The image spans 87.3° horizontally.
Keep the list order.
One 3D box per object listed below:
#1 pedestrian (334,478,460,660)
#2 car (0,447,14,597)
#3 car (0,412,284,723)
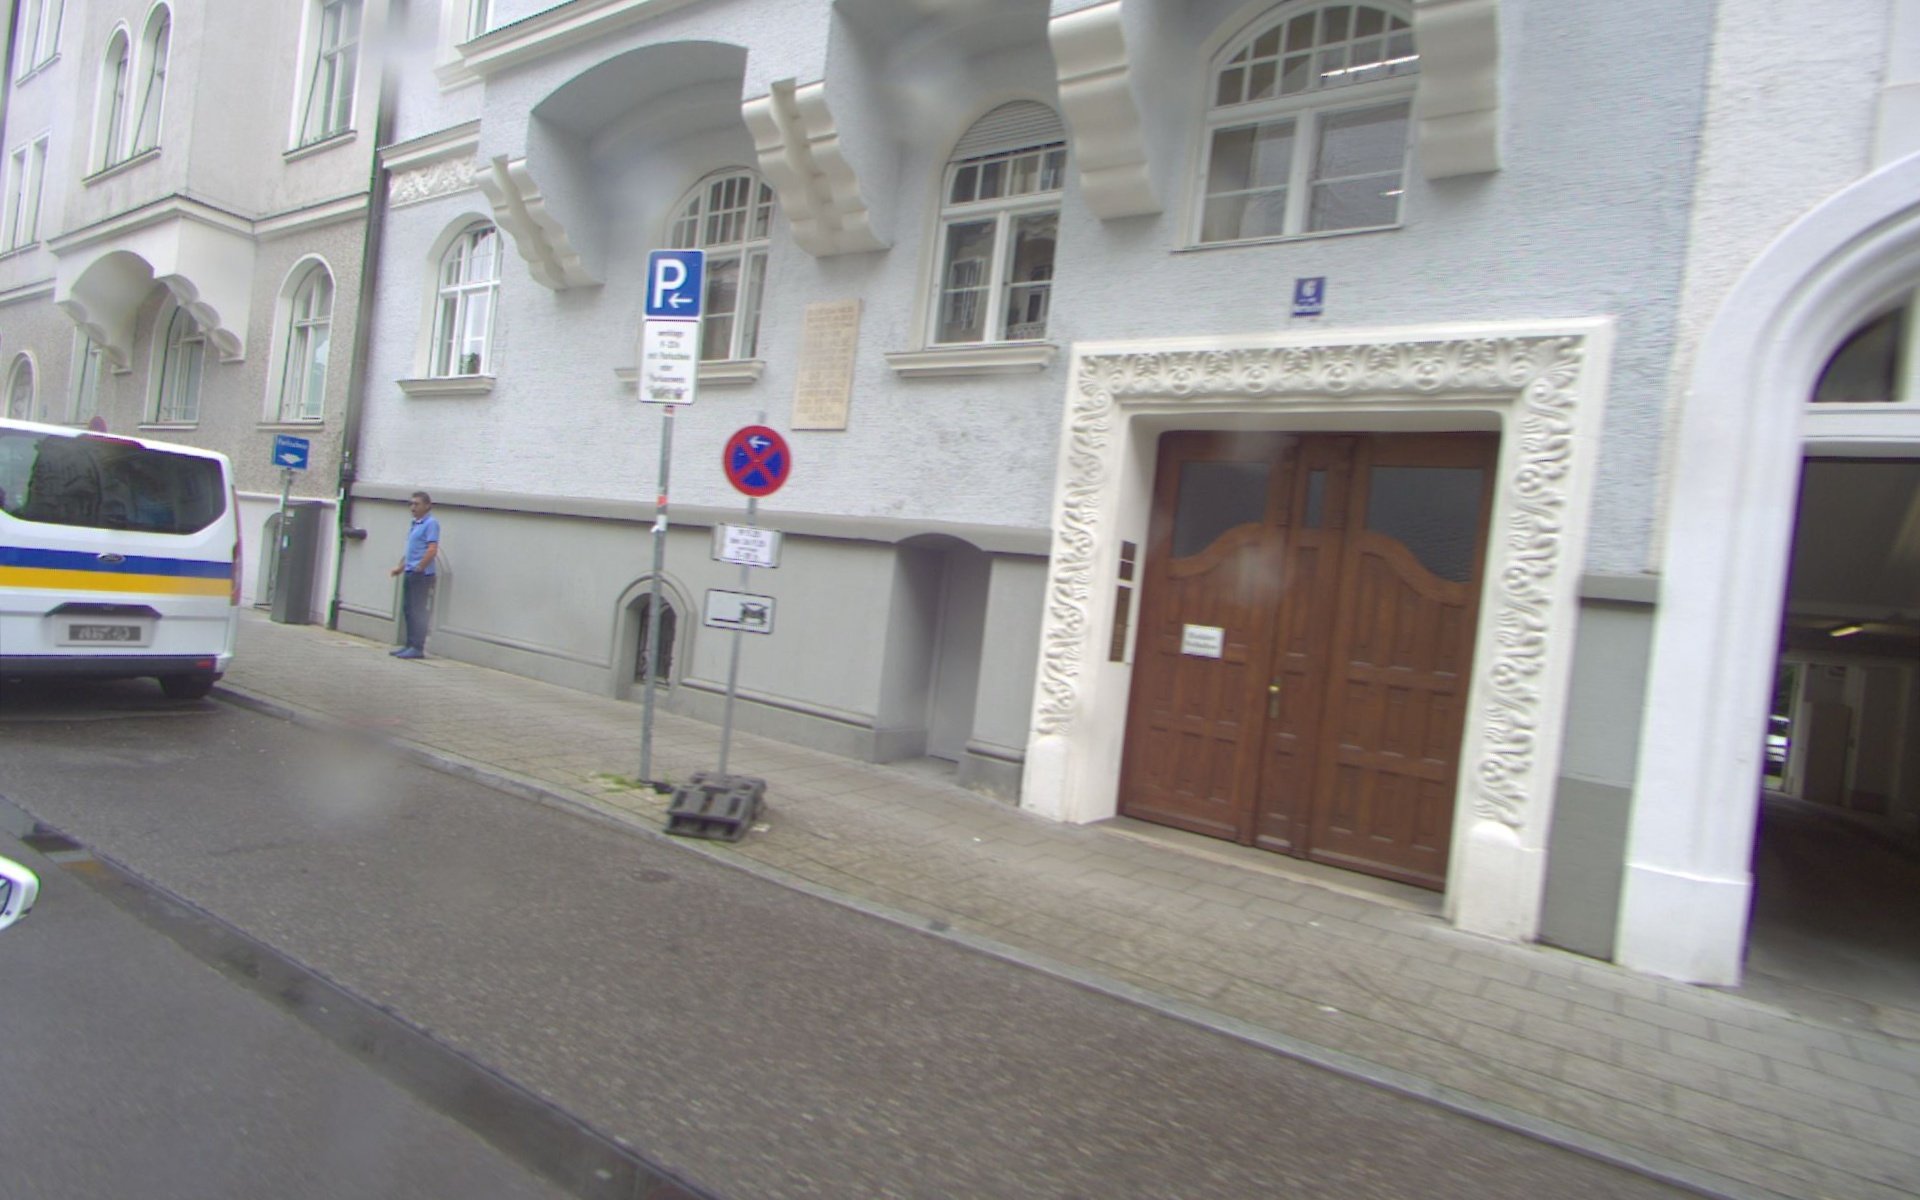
[{"bbox_3d":[-6.336,-0.339,11.330,0.734,1.927,0.851,7,1,36],"label":"pedestrian"},{"bbox_3d":[-12.683,-0.927,11.131,4.806,1.942,1.995,6,0,32],"label":"car"},{"bbox_3d":[-7.765,-0.386,8.023,4.797,1.942,1.996,7,0,31],"label":"car"}]
